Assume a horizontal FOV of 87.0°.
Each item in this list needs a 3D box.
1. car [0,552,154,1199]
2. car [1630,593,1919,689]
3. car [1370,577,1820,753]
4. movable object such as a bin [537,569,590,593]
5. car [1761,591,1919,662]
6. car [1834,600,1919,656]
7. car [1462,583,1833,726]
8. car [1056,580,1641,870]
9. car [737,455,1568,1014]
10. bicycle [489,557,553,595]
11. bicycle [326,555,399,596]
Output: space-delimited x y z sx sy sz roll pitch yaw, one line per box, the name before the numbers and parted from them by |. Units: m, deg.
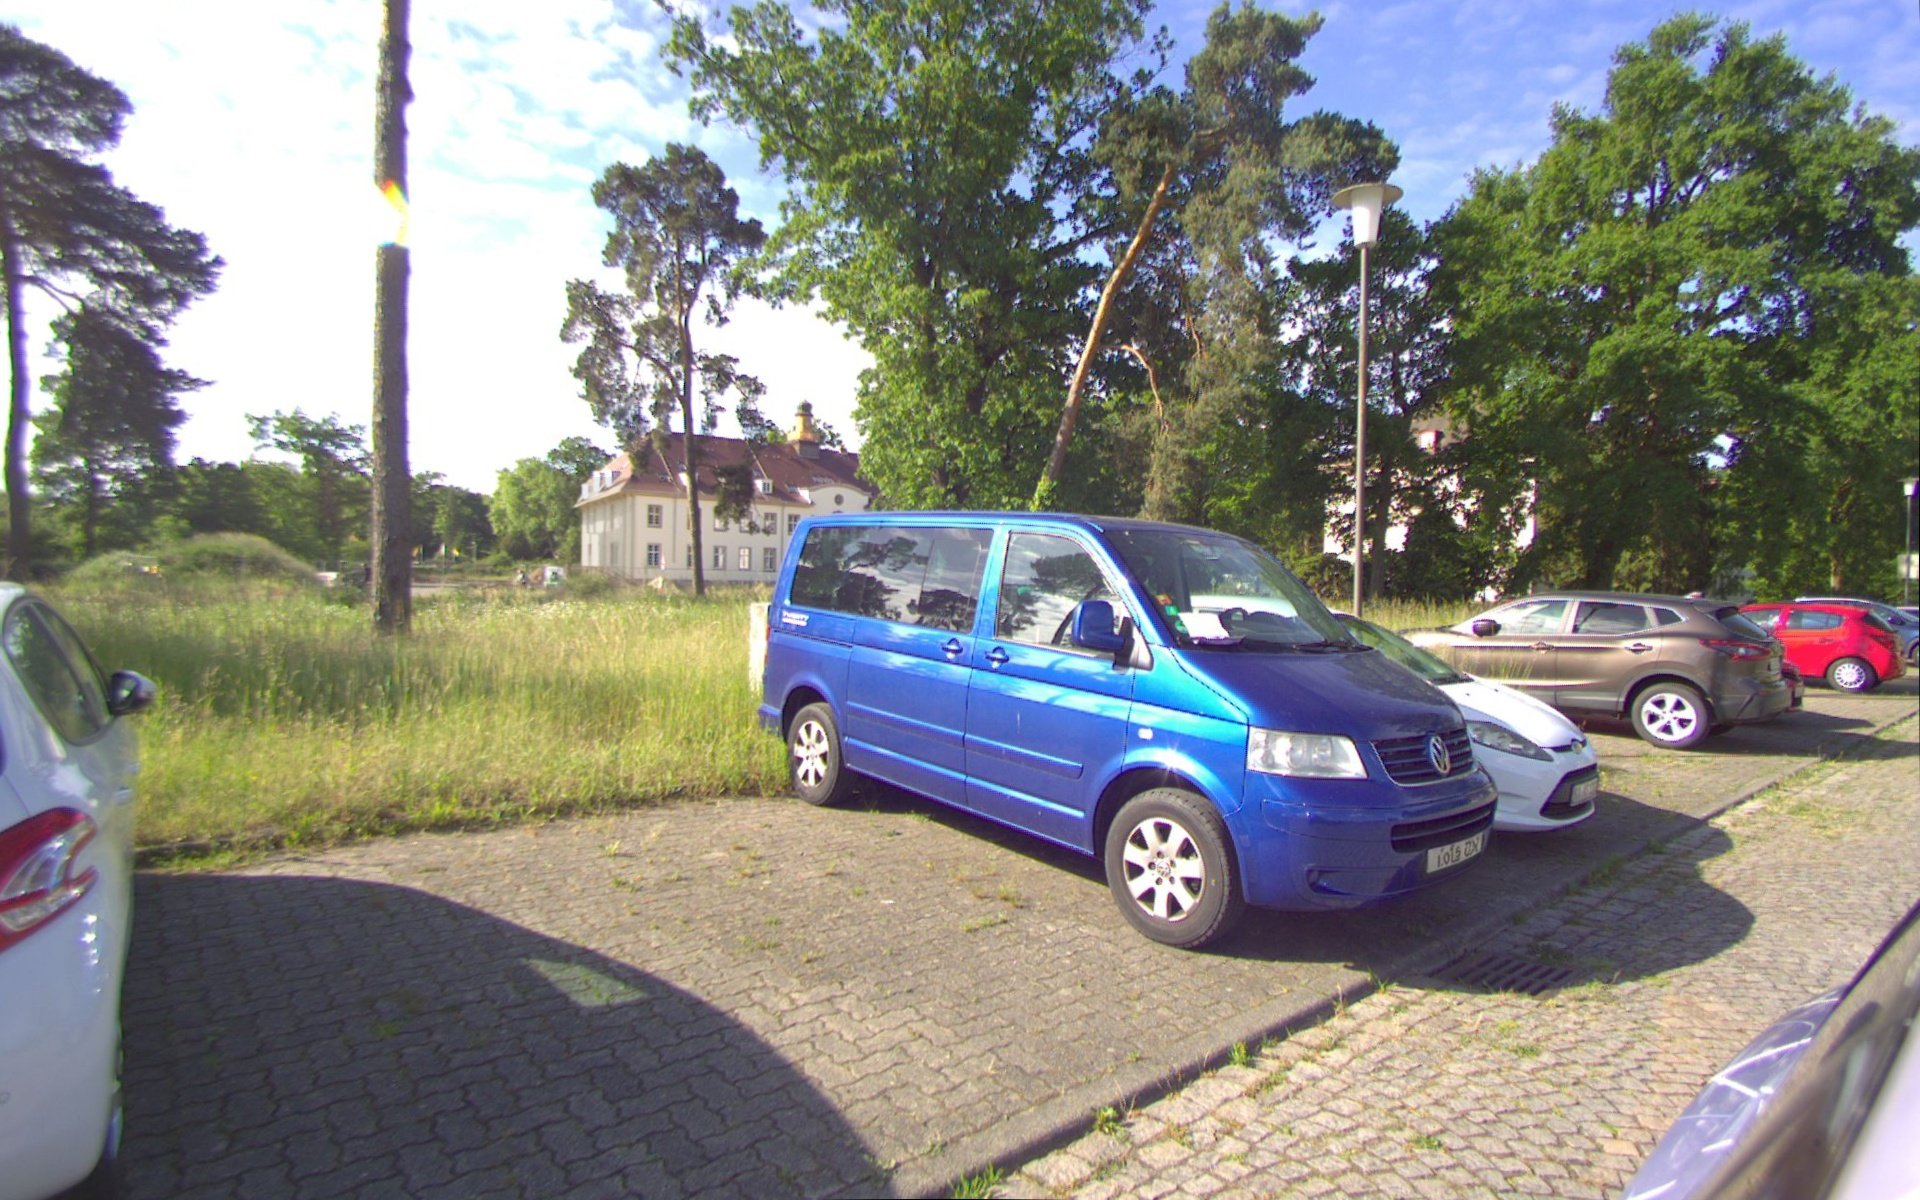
car | -3.344 0.613 2.884 1.605 1.510 3.654 0 1 -39
car | 14.803 0.656 18.492 1.513 1.514 3.995 0 1 -40
car | 7.211 0.590 11.838 1.755 1.631 4.115 0 2 -41
movable object such as a bin | -36.480 -1.767 93.063 5.714 2.039 2.092 2 1 41
car | 22.600 0.617 24.919 1.622 1.618 4.271 0 1 -40
car | 26.498 0.776 27.573 1.715 1.484 3.809 0 1 -38
car | 9.185 0.612 13.783 1.672 1.557 3.835 0 2 -39
car | 2.633 0.668 7.529 1.582 1.485 3.727 0 2 -41
car | 0.657 0.357 6.150 1.964 2.038 4.767 0 3 -39
bicycle | -24.278 -1.365 55.989 3.077 2.038 0.952 -2 2 -41
bicycle | -30.513 -1.289 51.732 3.077 2.038 0.952 -2 2 -41
